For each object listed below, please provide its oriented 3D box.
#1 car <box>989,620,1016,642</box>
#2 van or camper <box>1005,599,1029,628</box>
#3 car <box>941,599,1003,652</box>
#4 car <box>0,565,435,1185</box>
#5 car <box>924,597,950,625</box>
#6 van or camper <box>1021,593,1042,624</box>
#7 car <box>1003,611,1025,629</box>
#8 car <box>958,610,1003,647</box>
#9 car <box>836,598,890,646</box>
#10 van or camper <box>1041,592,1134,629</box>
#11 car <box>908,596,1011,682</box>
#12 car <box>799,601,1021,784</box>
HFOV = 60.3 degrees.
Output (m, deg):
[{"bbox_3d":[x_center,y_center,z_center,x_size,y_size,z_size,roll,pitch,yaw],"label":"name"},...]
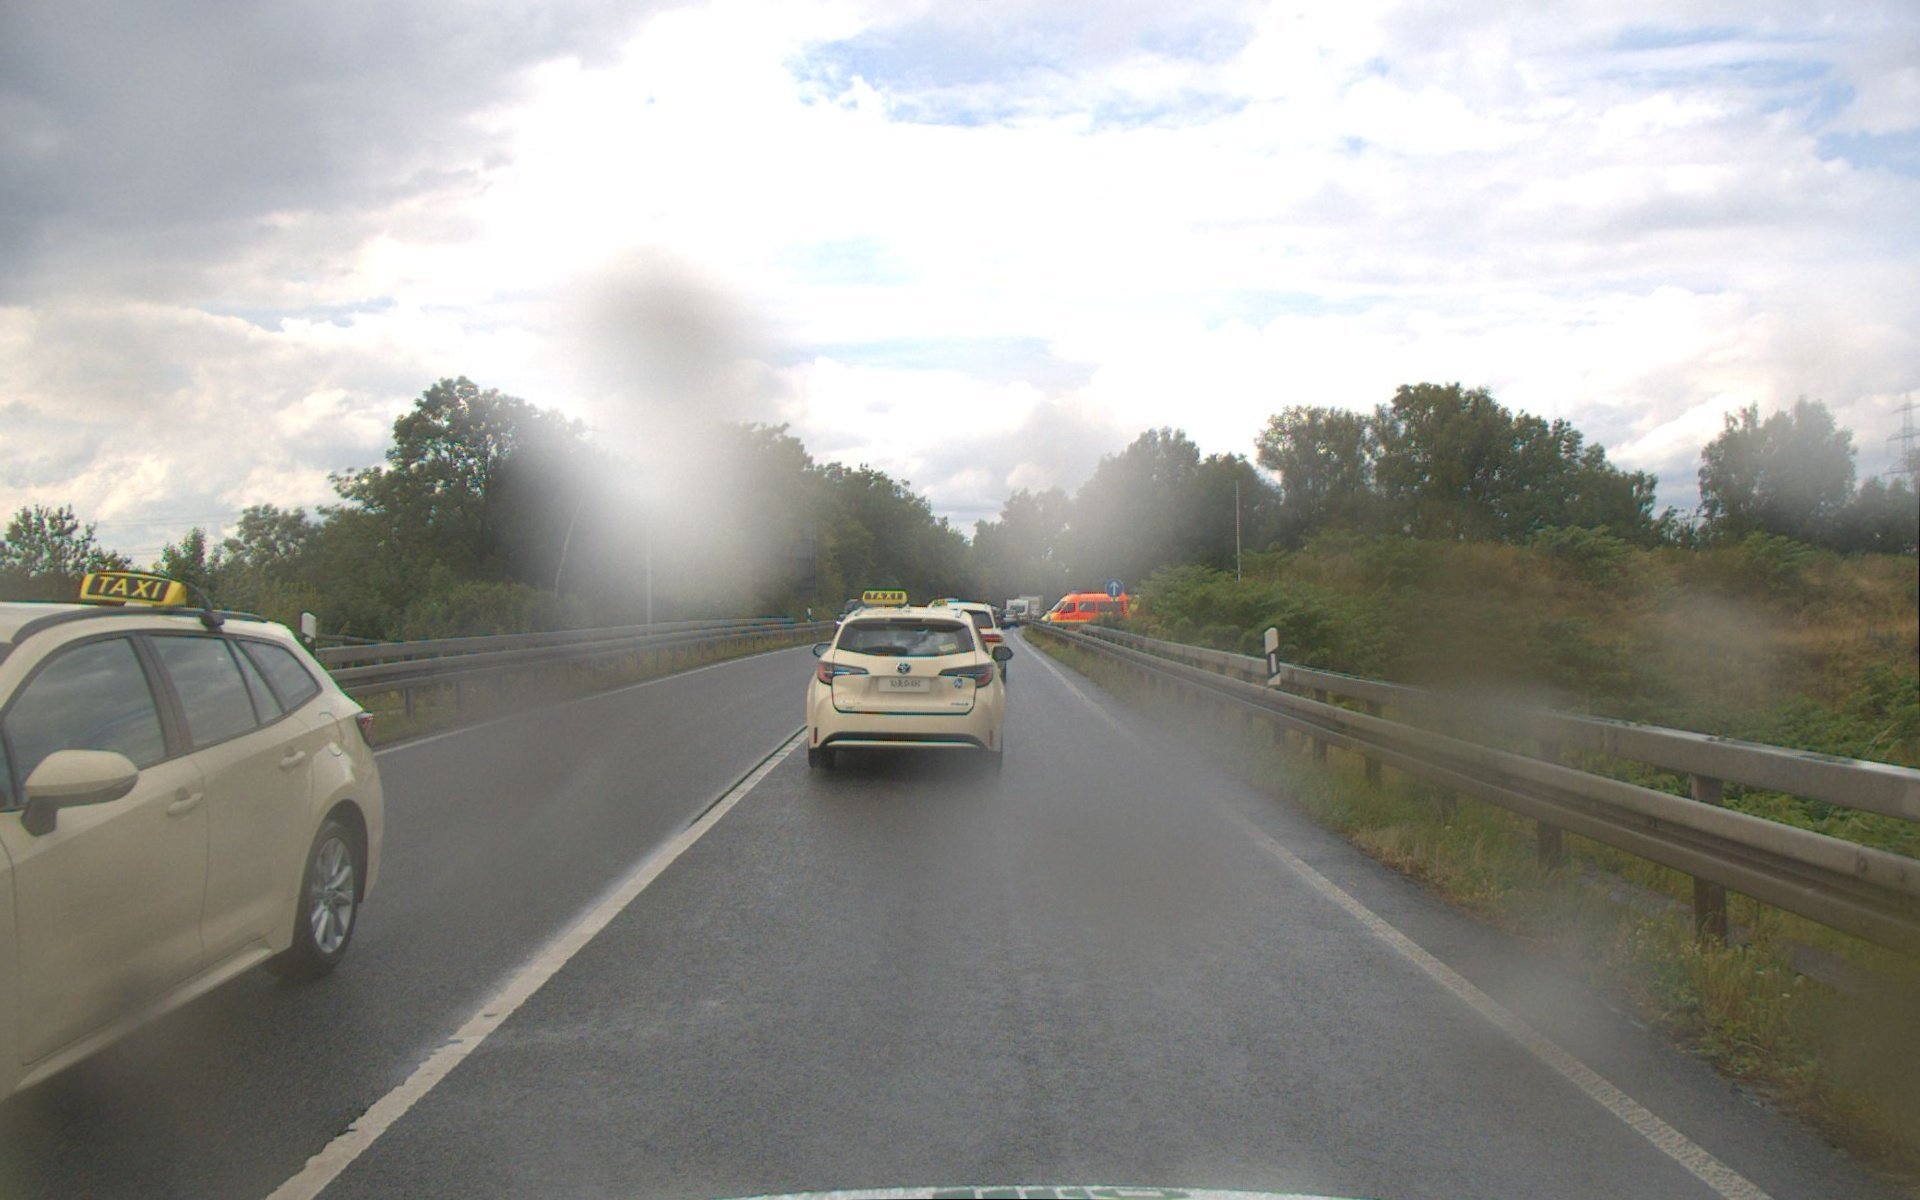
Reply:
[{"bbox_3d":[3.091,2.206,120.336,1.815,1.468,4.172,1,0,3],"label":"car"},{"bbox_3d":[5.784,1.340,169.685,2.284,2.914,6.307,1,0,1],"label":"van or camper"},{"bbox_3d":[0.344,0.761,51.123,1.816,1.468,4.170,1,1,-1],"label":"car"},{"bbox_3d":[-3.255,0.659,5.124,1.773,1.536,4.611,1,0,0],"label":"car"},{"bbox_3d":[-1.826,0.859,132.332,1.952,2.165,4.895,1,0,1],"label":"car"},{"bbox_3d":[8.528,0.997,198.145,2.284,3.625,6.307,1,0,1],"label":"van or camper"},{"bbox_3d":[4.843,1.747,146.782,1.815,1.468,4.172,1,0,3],"label":"car"},{"bbox_3d":[0.866,1.207,71.855,1.816,1.468,4.170,1,1,-1],"label":"car"},{"bbox_3d":[-3.406,0.743,58.669,1.743,1.588,4.301,1,0,-1],"label":"car"},{"bbox_3d":[8.126,0.666,105.739,5.583,2.280,2.012,1,0,-15],"label":"van or camper"},{"bbox_3d":[-0.028,0.691,31.685,1.816,1.468,4.170,1,1,-1],"label":"car"},{"bbox_3d":[-0.430,0.767,15.769,1.816,1.418,4.170,1,1,-1],"label":"car"}]
